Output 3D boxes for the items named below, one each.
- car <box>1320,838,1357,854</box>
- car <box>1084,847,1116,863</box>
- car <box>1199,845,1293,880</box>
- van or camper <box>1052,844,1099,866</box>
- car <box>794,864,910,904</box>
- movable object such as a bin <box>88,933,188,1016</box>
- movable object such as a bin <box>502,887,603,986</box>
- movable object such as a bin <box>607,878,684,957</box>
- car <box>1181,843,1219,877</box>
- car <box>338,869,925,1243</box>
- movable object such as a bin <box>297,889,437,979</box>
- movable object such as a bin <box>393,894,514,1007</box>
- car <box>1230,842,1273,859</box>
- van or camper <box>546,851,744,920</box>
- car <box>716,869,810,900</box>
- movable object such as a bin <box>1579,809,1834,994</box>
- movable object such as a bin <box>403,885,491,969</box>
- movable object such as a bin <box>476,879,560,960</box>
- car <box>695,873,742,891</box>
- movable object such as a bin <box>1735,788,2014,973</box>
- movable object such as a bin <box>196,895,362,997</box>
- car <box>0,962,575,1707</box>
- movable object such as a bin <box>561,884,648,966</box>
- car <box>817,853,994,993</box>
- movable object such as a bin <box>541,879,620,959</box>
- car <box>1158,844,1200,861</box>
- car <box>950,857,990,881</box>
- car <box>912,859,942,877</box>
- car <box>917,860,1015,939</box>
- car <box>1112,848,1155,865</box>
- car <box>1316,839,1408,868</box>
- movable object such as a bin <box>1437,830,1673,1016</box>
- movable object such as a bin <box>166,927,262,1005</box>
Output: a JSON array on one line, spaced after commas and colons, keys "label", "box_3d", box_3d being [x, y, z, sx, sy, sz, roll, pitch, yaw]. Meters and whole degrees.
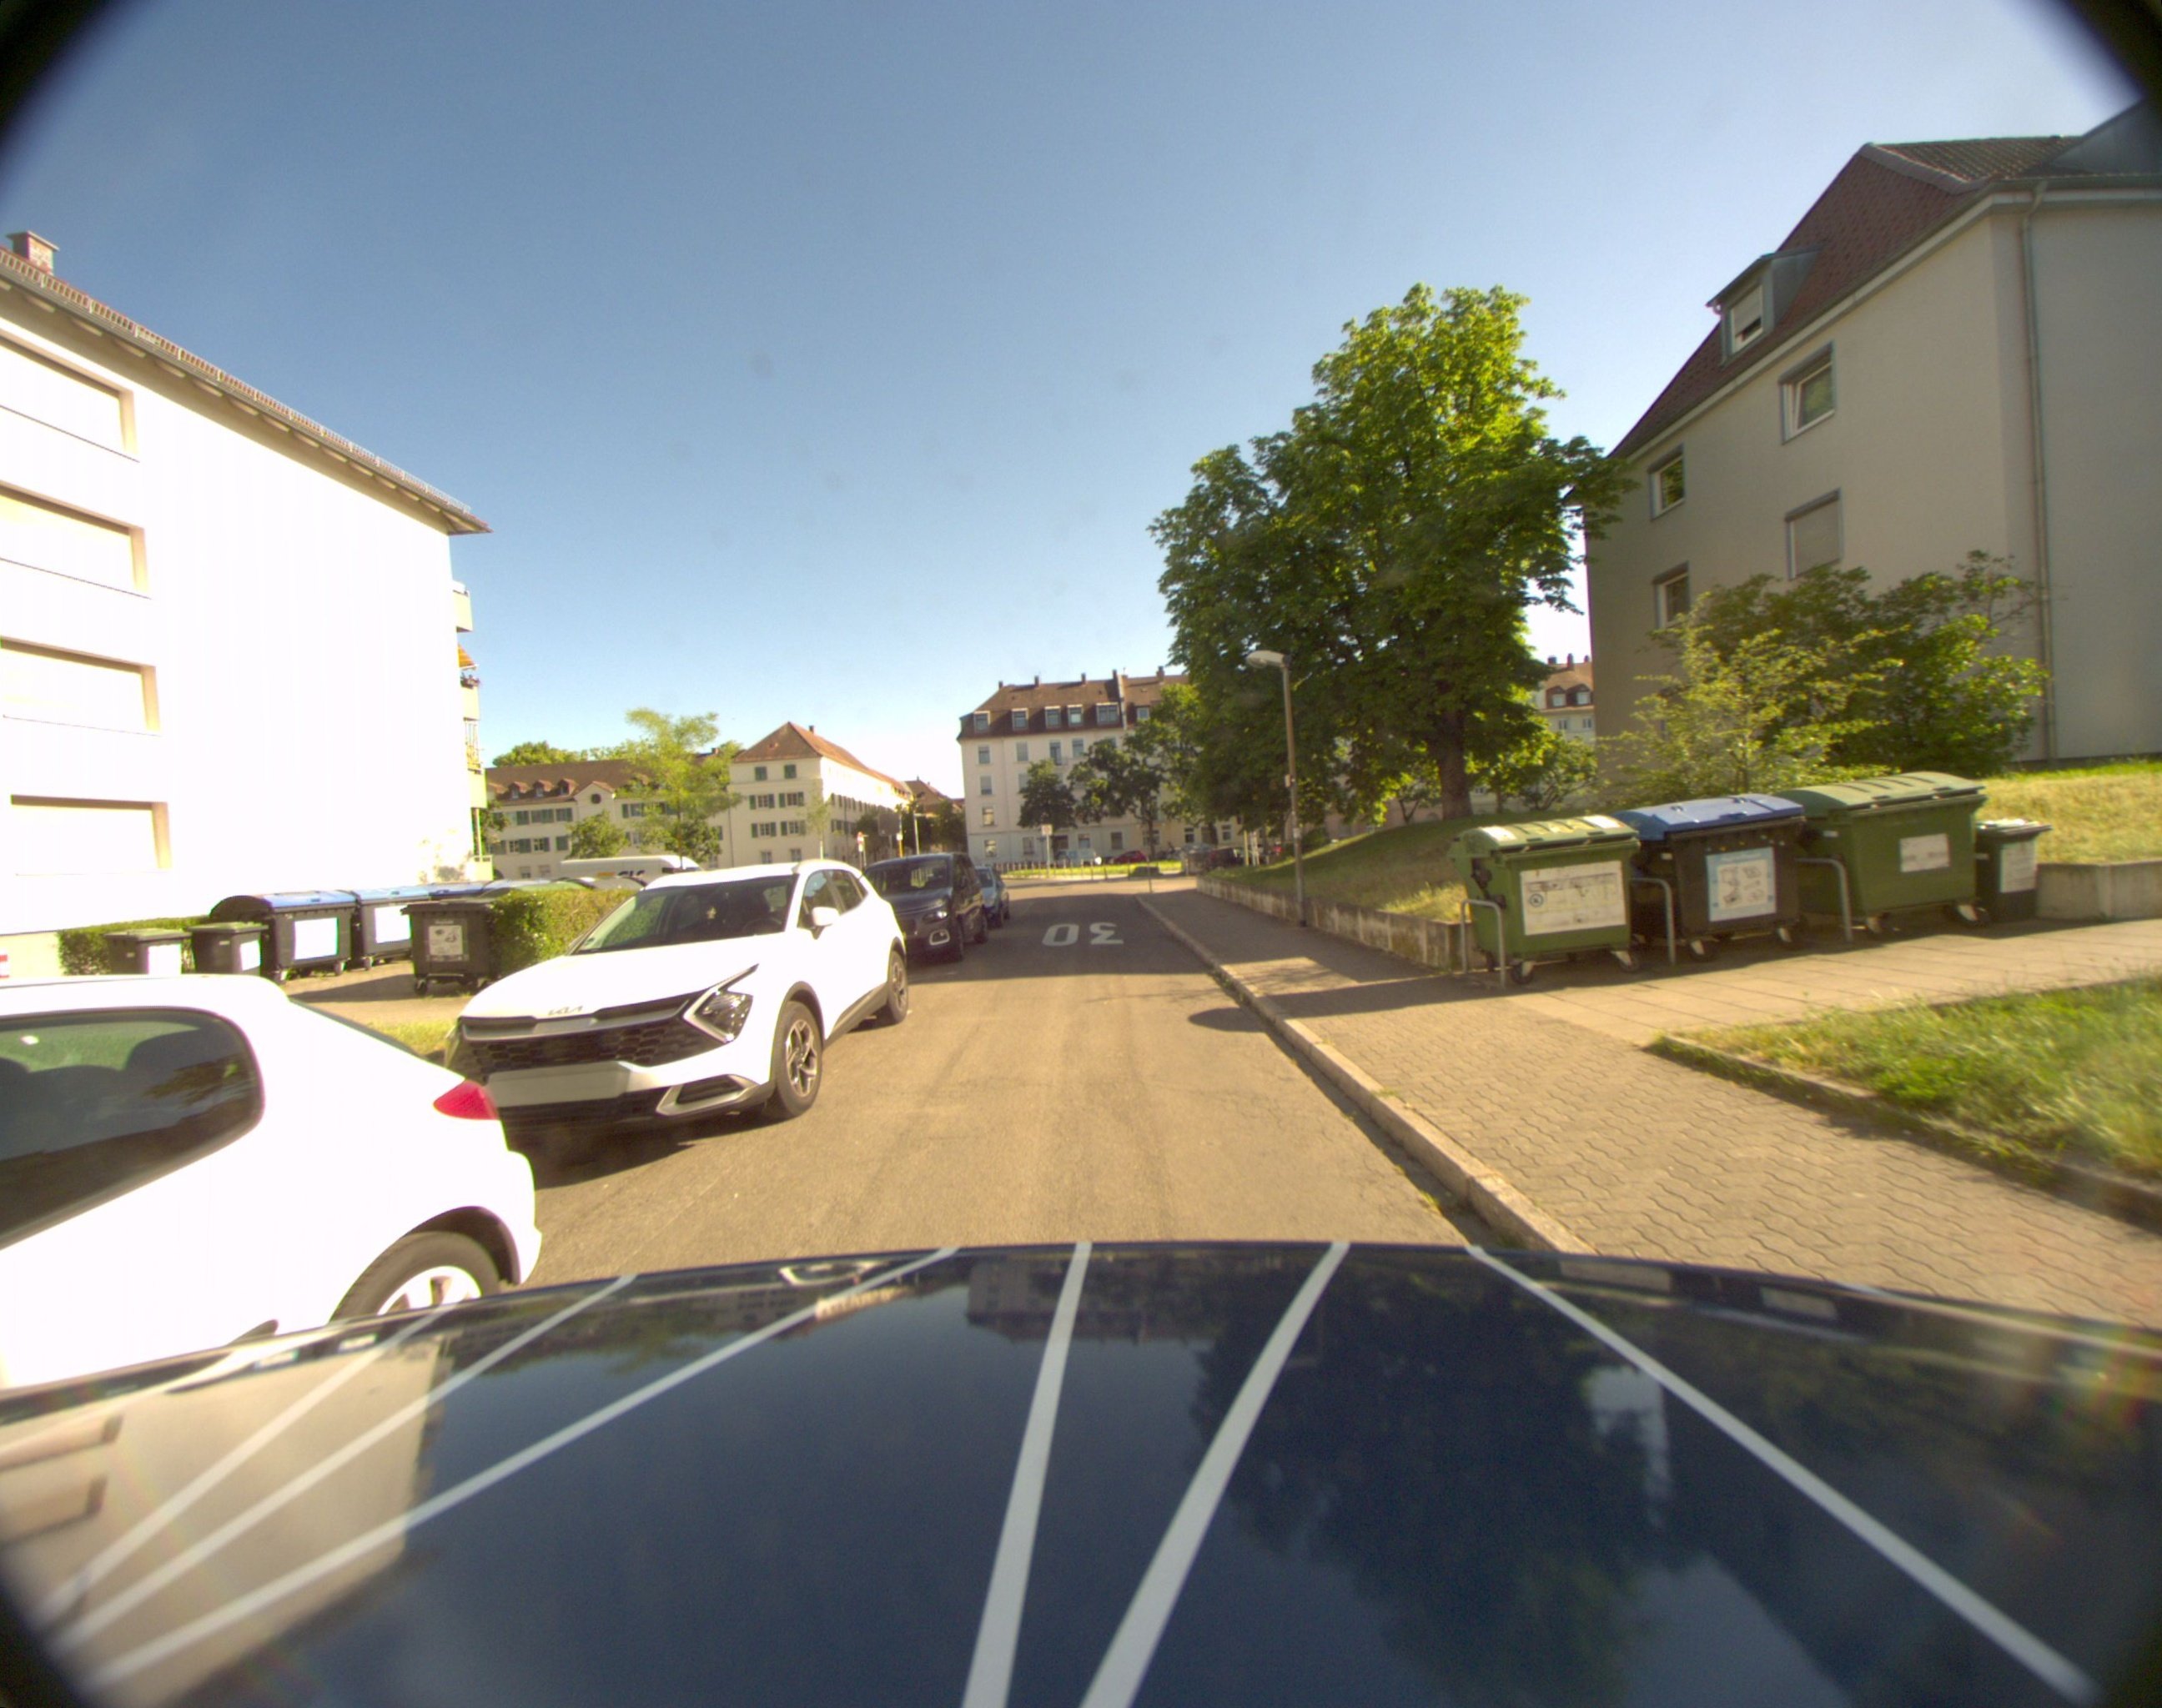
[{"label": "car", "box_3d": [26.313, -0.824, 77.629, 3.192, 1.499, 1.545, -2, 1, 0]}, {"label": "car", "box_3d": [1.933, 0.132, 78.035, 3.192, 1.499, 1.545, -2, 1, 0]}, {"label": "car", "box_3d": [7.996, 0.400, 37.046, 4.140, 1.488, 1.729, -2, 1, 1]}, {"label": "van or camper", "box_3d": [-0.571, 0.070, 72.786, 4.355, 1.852, 2.000, -2, 1, -1]}, {"label": "car", "box_3d": [-9.102, 1.195, 30.424, 3.996, 1.342, 1.802, -2, 1, 2]}, {"label": "movable object such as a bin", "box_3d": [-12.893, 1.634, 10.404, 0.628, 1.047, 0.580, 0, 1, -2]}, {"label": "movable object such as a bin", "box_3d": [-8.416, 1.285, 12.139, 0.921, 1.439, 0.866, -3, 1, -1]}, {"label": "movable object such as a bin", "box_3d": [-8.349, 1.202, 14.607, 0.921, 1.390, 0.866, -3, 1, -1]}, {"label": "car", "box_3d": [6.258, 0.300, 40.222, 1.678, 1.645, 3.305, -2, 0, 5]}, {"label": "car", "box_3d": [-2.668, 1.038, 6.019, 1.805, 1.583, 4.581, -5, 0, 0]}, {"label": "movable object such as a bin", "box_3d": [-12.785, 1.399, 13.669, 1.239, 1.439, 1.278, -3, 1, -2]}, {"label": "movable object such as a bin", "box_3d": [-8.824, 1.322, 10.732, 0.866, 1.439, 0.922, -3, 1, -3]}, {"label": "car", "box_3d": [16.200, -0.348, 72.360, 3.787, 1.437, 1.625, -2, 1, 2]}, {"label": "van or camper", "box_3d": [-18.078, 1.281, 31.748, 6.980, 2.486, 2.177, -2, 1, 2]}, {"label": "car", "box_3d": [-15.754, 1.508, 37.757, 3.996, 1.342, 1.521, -2, 1, 2]}, {"label": "movable object such as a bin", "box_3d": [5.810, 0.415, 7.168, 1.358, 1.451, 1.082, -7, 1, 1]}, {"label": "movable object such as a bin", "box_3d": [-12.334, 1.398, 14.820, 0.866, 1.511, 0.922, -2, 1, -1]}, {"label": "movable object such as a bin", "box_3d": [-10.850, 1.246, 14.681, 0.866, 1.439, 0.922, -3, 1, -3]}, {"label": "car", "box_3d": [-37.539, 2.858, 78.763, 3.997, 1.630, 1.647, -3, 1, 0]}, {"label": "movable object such as a bin", "box_3d": [7.393, 0.229, 7.174, 1.363, 1.445, 1.073, -7, 1, 1]}, {"label": "movable object such as a bin", "box_3d": [-12.875, 1.445, 12.261, 1.239, 1.439, 1.278, -3, 1, -2]}, {"label": "car", "box_3d": [-2.655, 1.164, 0.559, 1.695, 1.410, 4.097, -6, 0, 0]}, {"label": "movable object such as a bin", "box_3d": [-8.366, 1.236, 13.381, 0.921, 1.318, 0.866, -3, 1, -1]}, {"label": "car", "box_3d": [-2.755, 0.987, 13.032, 1.855, 1.790, 4.253, -7, 0, 0]}, {"label": "movable object such as a bin", "box_3d": [-9.737, 1.237, 14.821, 0.866, 1.439, 0.922, -3, 1, -3]}, {"label": "car", "box_3d": [9.276, -0.131, 72.341, 3.787, 1.437, 1.625, -2, 1, 2]}, {"label": "car", "box_3d": [-7.291, 0.964, 49.530, 1.674, 1.433, 3.794, -3, 0, -22]}, {"label": "car", "box_3d": [-12.670, 1.148, 62.240, 1.674, 1.369, 3.794, -3, 0, -22]}, {"label": "car", "box_3d": [-2.692, 1.015, 18.654, 1.728, 1.528, 3.951, -6, 0, -1]}, {"label": "car", "box_3d": [4.985, 0.231, 72.418, 3.996, 1.477, 1.722, -2, 1, 2]}, {"label": "car", "box_3d": [13.673, -0.029, 37.118, 3.862, 1.265, 1.630, -2, 1, 1]}, {"label": "movable object such as a bin", "box_3d": [4.351, 0.589, 7.116, 1.318, 1.451, 1.198, -7, 1, 1]}, {"label": "movable object such as a bin", "box_3d": [-12.664, 1.620, 11.116, 0.718, 1.047, 0.580, 0, 1, -2]}]
